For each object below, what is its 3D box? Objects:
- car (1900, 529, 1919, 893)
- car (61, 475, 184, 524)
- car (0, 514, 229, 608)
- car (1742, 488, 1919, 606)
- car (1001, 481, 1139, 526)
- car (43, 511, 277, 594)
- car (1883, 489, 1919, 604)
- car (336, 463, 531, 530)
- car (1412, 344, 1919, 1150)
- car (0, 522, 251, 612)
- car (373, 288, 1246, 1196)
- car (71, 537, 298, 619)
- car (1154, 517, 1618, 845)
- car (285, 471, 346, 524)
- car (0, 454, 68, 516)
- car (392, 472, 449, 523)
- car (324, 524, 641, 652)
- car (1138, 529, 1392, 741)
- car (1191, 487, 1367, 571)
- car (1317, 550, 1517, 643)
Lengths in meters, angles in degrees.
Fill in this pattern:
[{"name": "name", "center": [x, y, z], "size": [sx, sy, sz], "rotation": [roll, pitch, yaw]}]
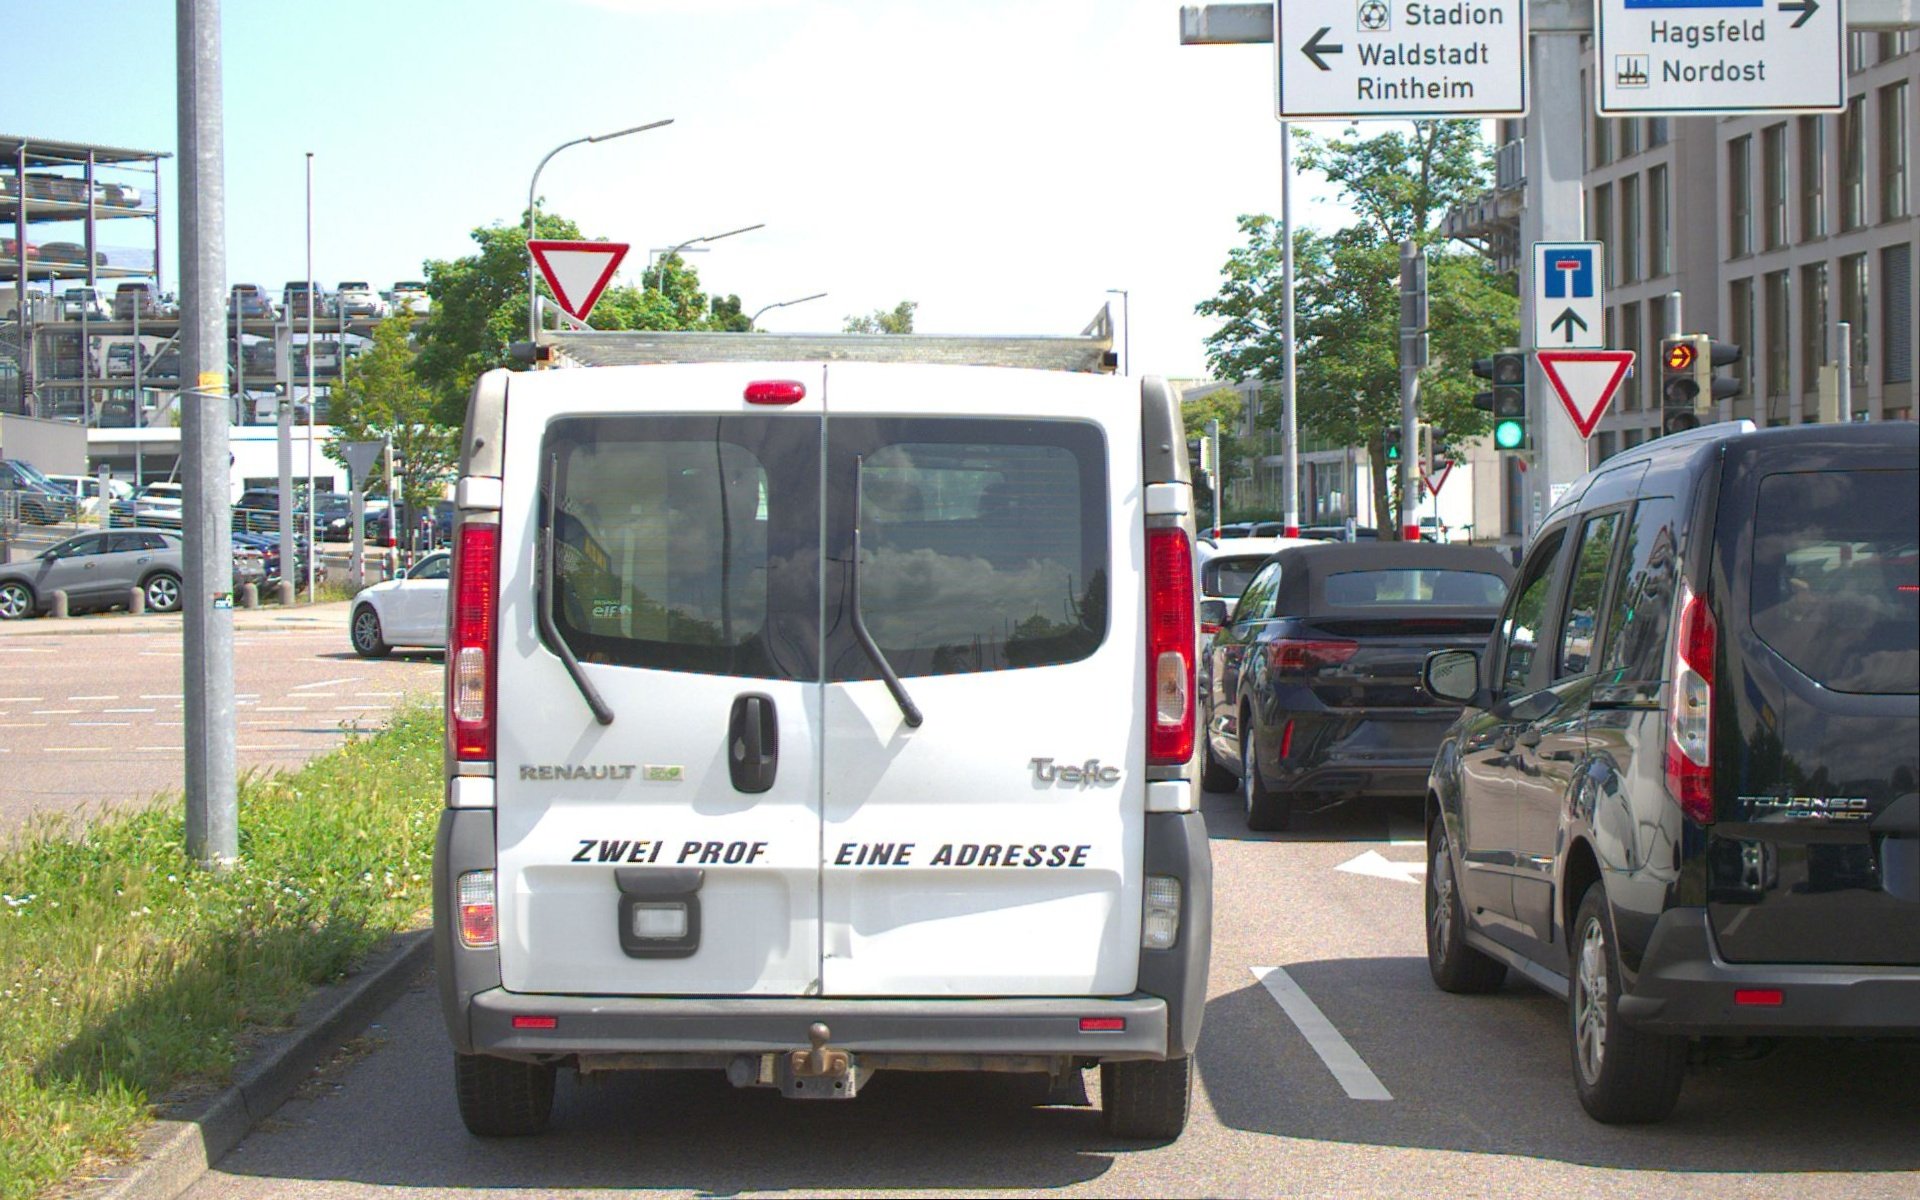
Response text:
[{"name": "car", "center": [5.265, 0.519, 13.801], "size": [1.859, 1.650, 4.219], "rotation": [1, 0, 1]}, {"name": "car", "center": [-28.191, -3.368, 115.819], "size": [3.986, 1.547, 1.765], "rotation": [1, 0, -12]}, {"name": "car", "center": [-16.170, -0.731, 64.472], "size": [4.574, 1.672, 1.907], "rotation": [1, 0, -3]}, {"name": "car", "center": [15.363, -0.825, 55.419], "size": [4.975, 1.831, 2.000], "rotation": [1, 0, -7]}, {"name": "car", "center": [5.197, -4.566, 162.700], "size": [6.340, 2.007, 2.573], "rotation": [1, 0, -2]}, {"name": "car", "center": [-16.976, -1.007, 73.100], "size": [4.574, 1.672, 1.907], "rotation": [1, 0, -3]}, {"name": "car", "center": [15.495, -0.727, 48.849], "size": [4.197, 1.621, 1.828], "rotation": [1, 0, -7]}, {"name": "car", "center": [-17.709, -3.473, 115.810], "size": [6.386, 2.095, 1.765], "rotation": [1, 0, -5]}, {"name": "car", "center": [2.489, 0.316, 10.095], "size": [1.823, 1.898, 4.000], "rotation": [0, 1, 1]}, {"name": "car", "center": [-16.243, -0.643, 66.854], "size": [4.574, 1.672, 1.907], "rotation": [1, 0, -3]}, {"name": "car", "center": [-0.367, 0.286, 10.072], "size": [1.973, 2.053, 4.565], "rotation": [0, 1, -1]}, {"name": "car", "center": [-16.983, -0.492, 75.450], "size": [4.574, 1.672, 1.908], "rotation": [-1, 2, -3]}, {"name": "car", "center": [2.227, 0.368, 19.033], "size": [1.773, 1.624, 4.001], "rotation": [0, 1, -5]}, {"name": "car", "center": [-20.384, -3.232, 108.846], "size": [1.560, 1.547, 3.603], "rotation": [1, 0, -5]}, {"name": "car", "center": [-29.252, -3.482, 103.423], "size": [4.440, 1.795, 1.765], "rotation": [1, 0, -6]}, {"name": "car", "center": [-17.002, -3.210, 108.405], "size": [1.560, 1.546, 3.603], "rotation": [0, 1, -5]}, {"name": "car", "center": [-5.722, -0.156, 40.880], "size": [1.855, 1.437, 3.998], "rotation": [0, 0, -41]}, {"name": "car", "center": [2.448, 0.236, 28.416], "size": [1.774, 1.624, 4.000], "rotation": [0, 1, 1]}, {"name": "car", "center": [7.947, -1.757, 85.850], "size": [3.986, 2.007, 2.000], "rotation": [1, 0, -8]}, {"name": "car", "center": [10.158, -0.080, 76.542], "size": [3.986, 2.007, 2.000], "rotation": [1, 0, -8]}]
